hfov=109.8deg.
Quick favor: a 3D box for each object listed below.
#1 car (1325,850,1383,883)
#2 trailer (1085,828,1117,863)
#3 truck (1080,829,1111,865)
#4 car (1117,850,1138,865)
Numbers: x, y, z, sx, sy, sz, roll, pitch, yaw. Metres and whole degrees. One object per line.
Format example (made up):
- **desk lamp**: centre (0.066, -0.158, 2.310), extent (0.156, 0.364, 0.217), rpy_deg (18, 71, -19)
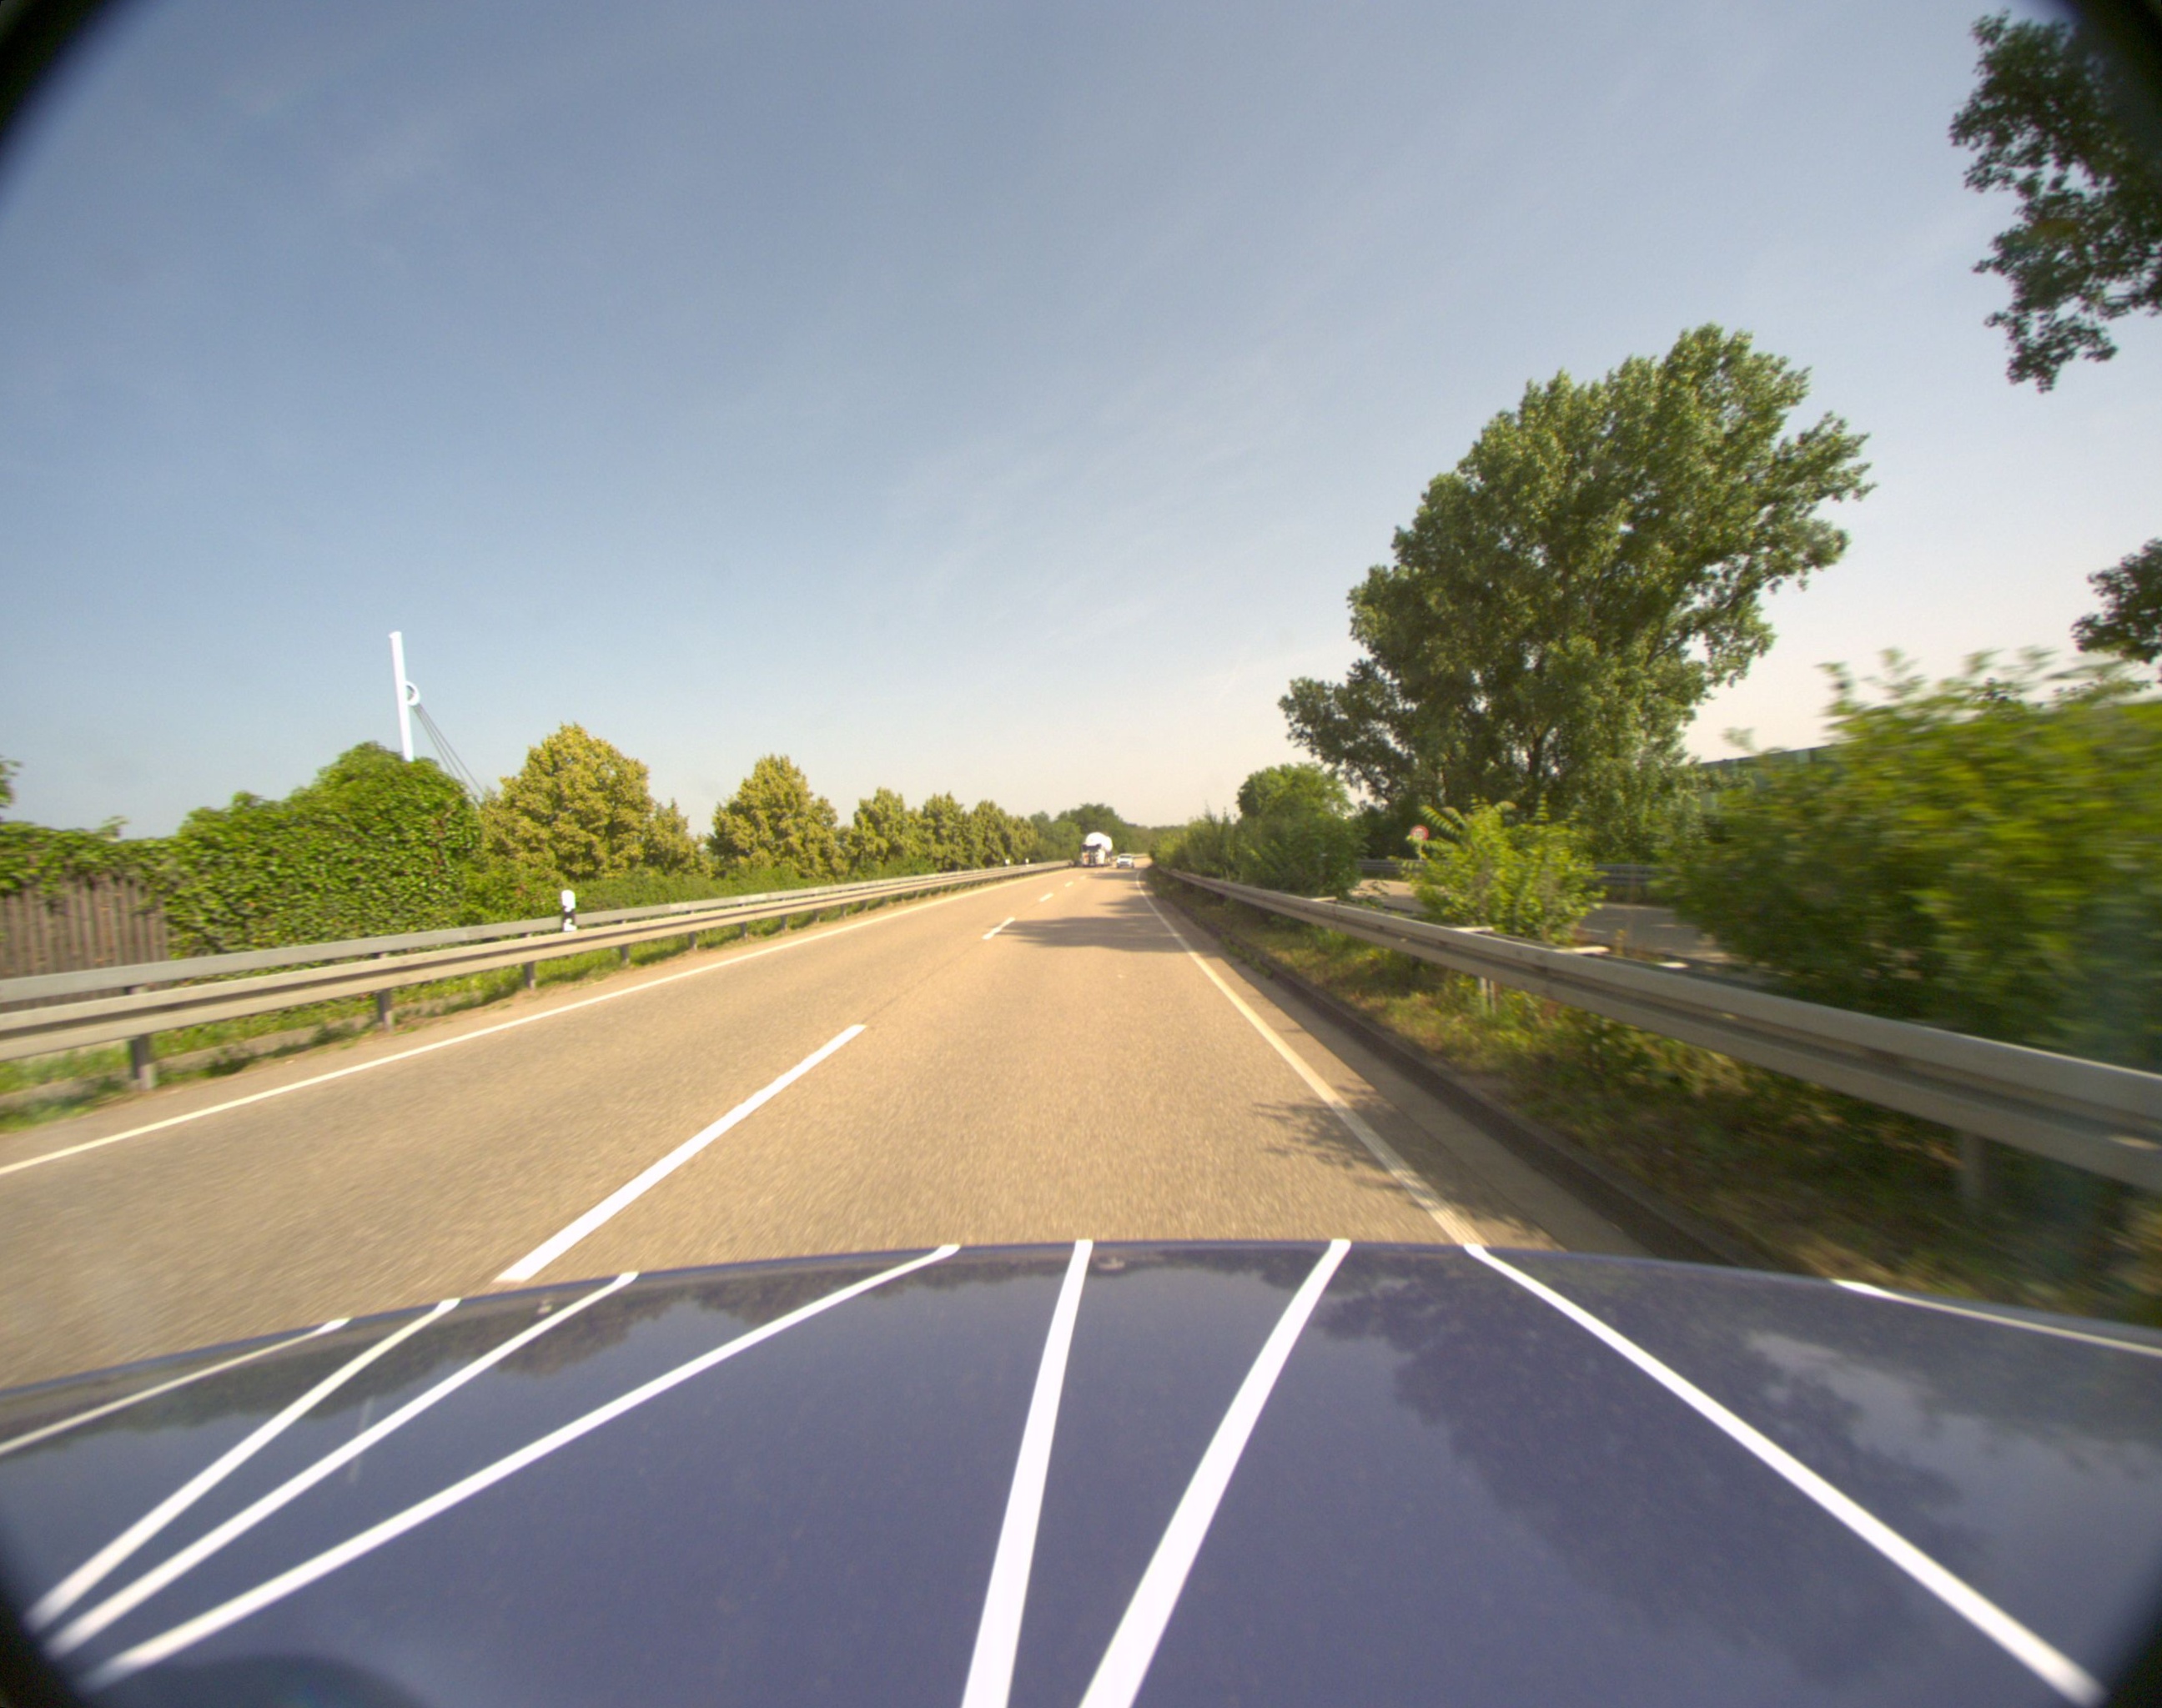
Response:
- **car**: centre (13.482, 0.603, 37.716), extent (1.557, 1.475, 3.719), rpy_deg (-2, 0, 1)
- **trailer**: centre (2.514, -1.108, 92.577), extent (2.762, 3.969, 8.190), rpy_deg (-2, 1, 8)
- **truck**: centre (1.759, -0.849, 87.254), extent (2.777, 3.939, 5.630), rpy_deg (-2, 1, 8)
- **car**: centre (4.956, 0.362, 80.353), extent (1.788, 1.428, 4.002), rpy_deg (-3, 1, 9)
